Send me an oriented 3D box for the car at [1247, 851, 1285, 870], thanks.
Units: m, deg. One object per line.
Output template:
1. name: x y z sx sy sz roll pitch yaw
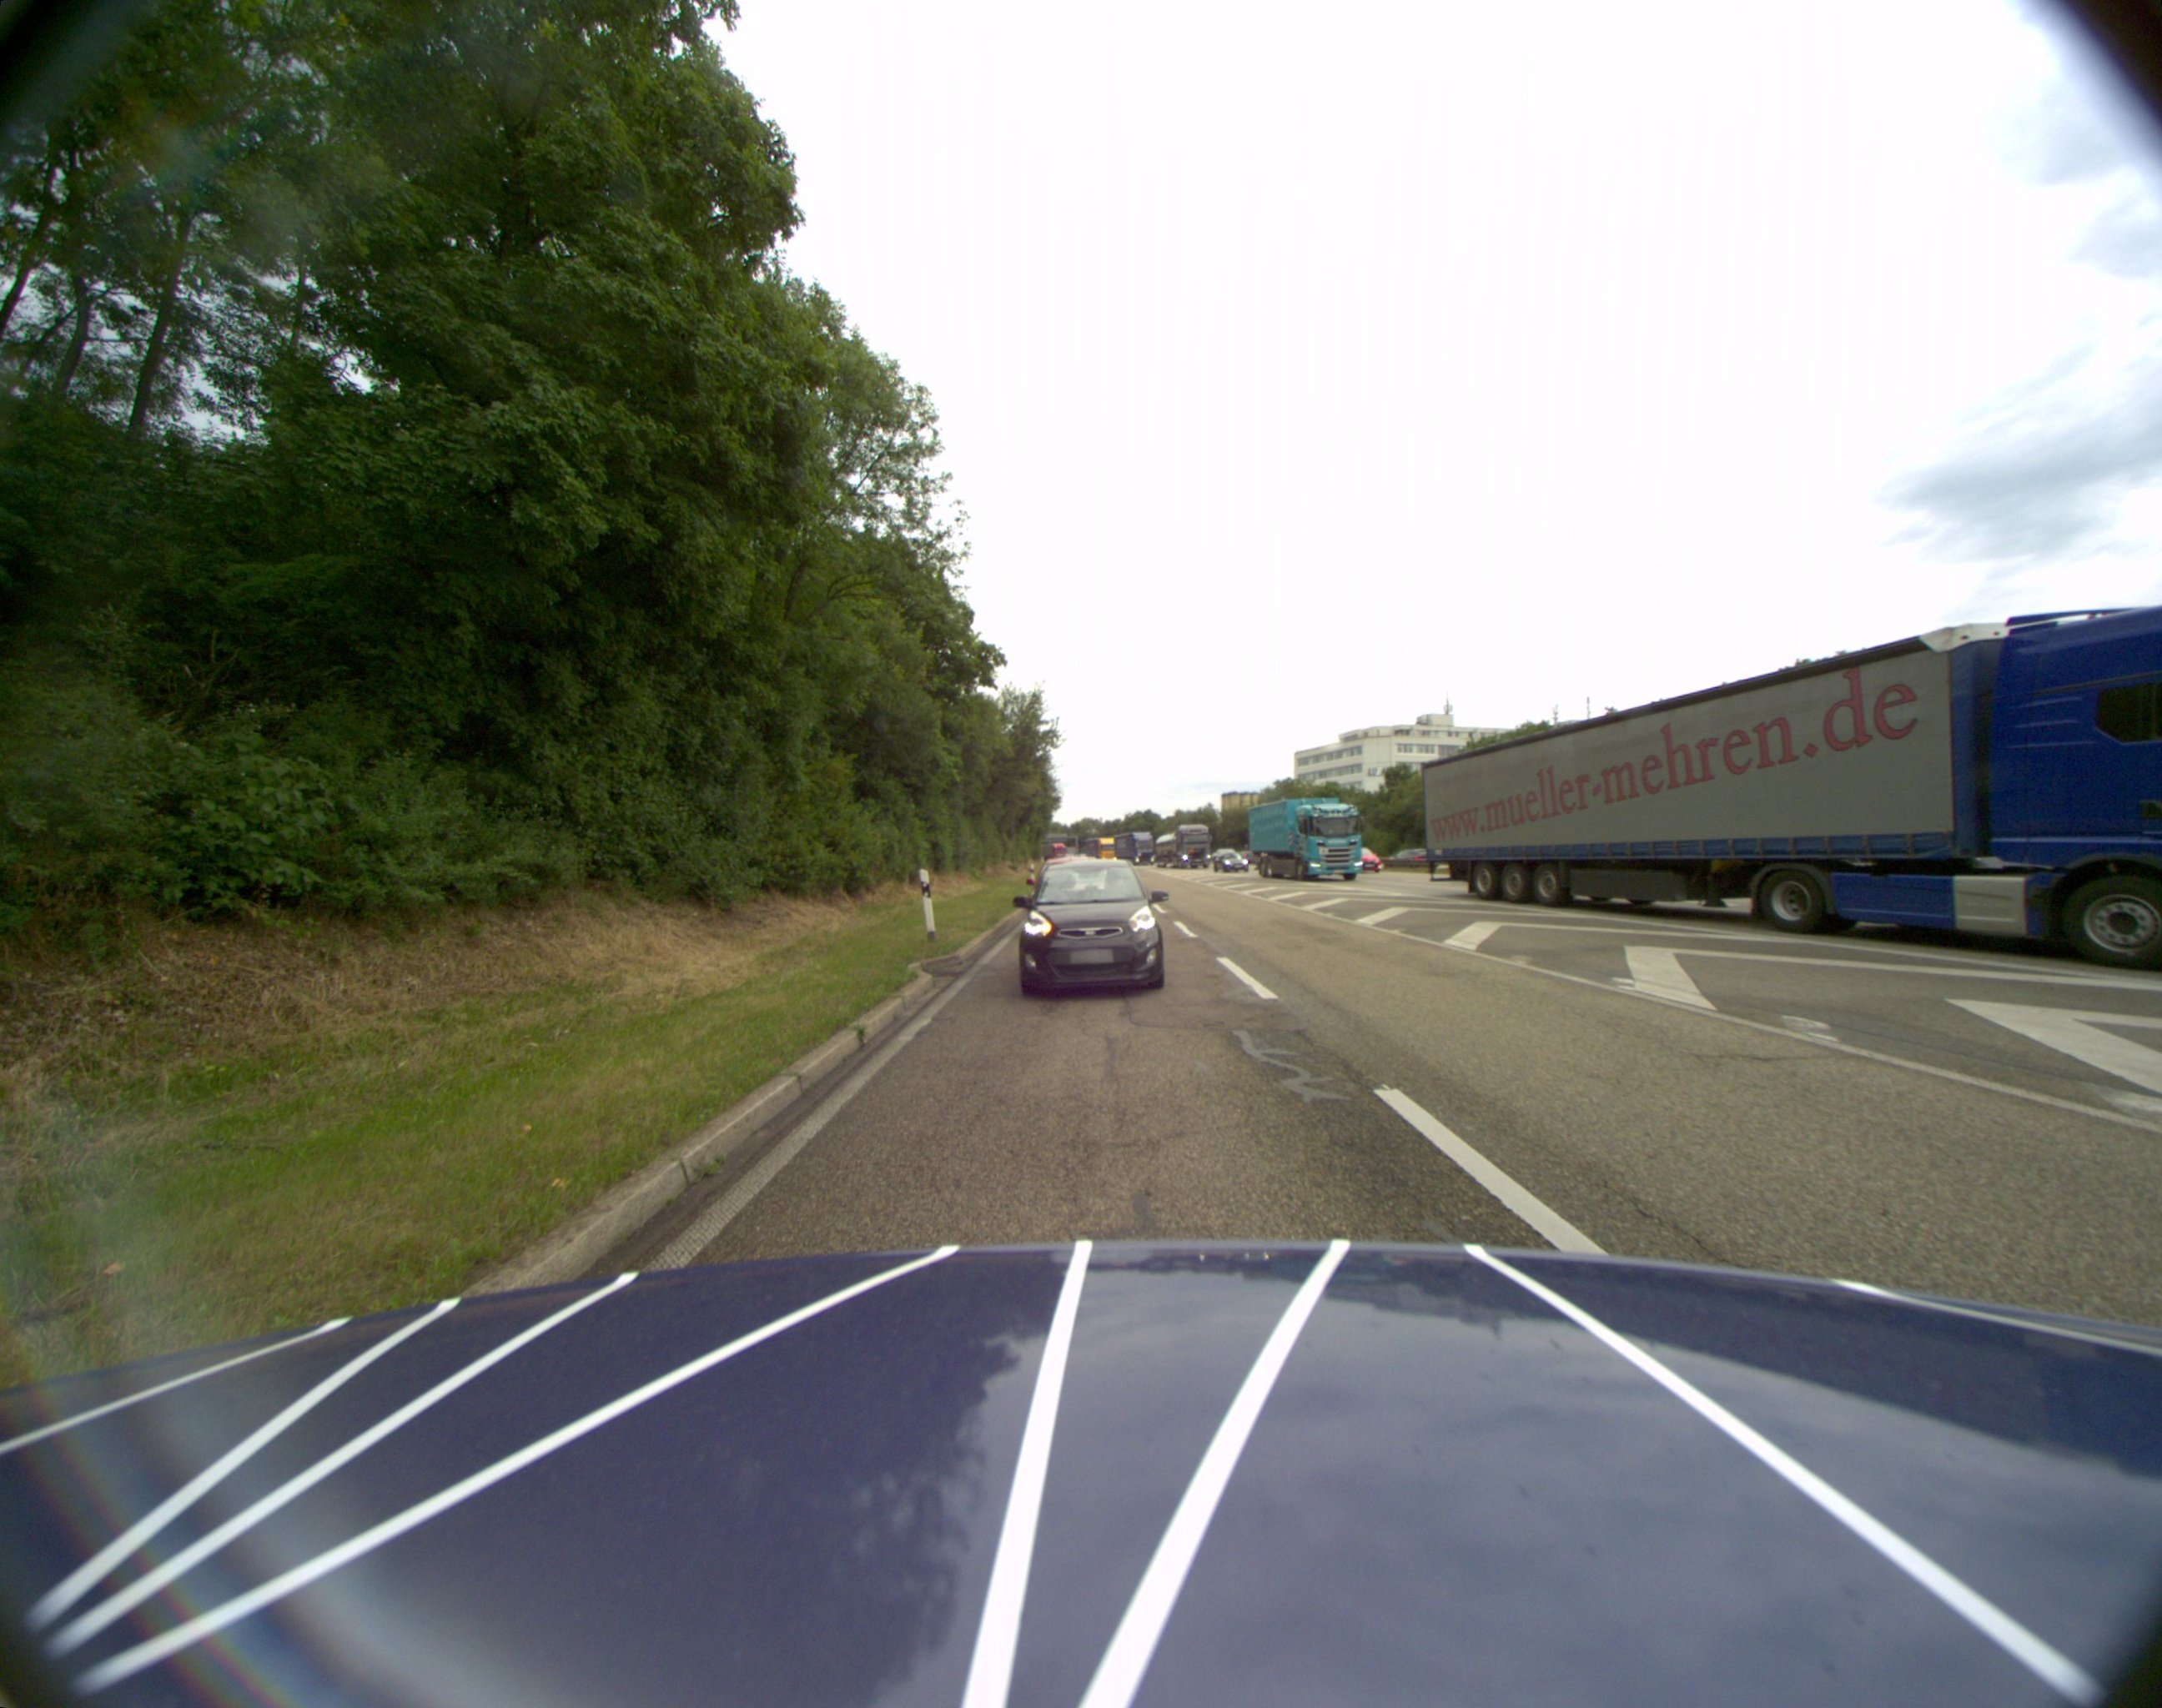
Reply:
1. car: 14.842 0.516 61.231 1.898 1.425 4.054 -1 0 -3

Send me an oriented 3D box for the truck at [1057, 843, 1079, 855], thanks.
1. truck: -4.098 -1.425 235.261 3.136 3.605 13.886 -2 0 -16

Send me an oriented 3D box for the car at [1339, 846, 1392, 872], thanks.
1. car: 16.169 0.266 43.375 1.746 1.410 3.447 -1 0 1

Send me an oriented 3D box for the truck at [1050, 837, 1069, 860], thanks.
1. truck: -5.020 -1.194 177.374 2.848 5.070 14.111 -2 0 -8

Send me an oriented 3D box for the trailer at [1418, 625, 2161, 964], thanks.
1. trailer: 11.674 -0.739 15.966 2.680 3.951 13.917 -2 0 -1

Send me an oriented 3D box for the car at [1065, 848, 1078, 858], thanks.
1. car: -1.648 -0.181 131.121 1.907 1.653 4.749 -1 1 -6

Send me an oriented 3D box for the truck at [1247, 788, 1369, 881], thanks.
1. truck: 11.002 -0.852 38.152 2.700 3.977 10.122 -2 0 -2

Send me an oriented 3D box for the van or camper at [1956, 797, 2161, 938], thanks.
1. van or camper: 15.592 0.168 10.272 1.925 1.909 4.850 -1 0 -1

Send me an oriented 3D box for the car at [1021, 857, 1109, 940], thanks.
1. car: -0.295 0.847 16.021 1.630 1.492 3.564 -1 0 0

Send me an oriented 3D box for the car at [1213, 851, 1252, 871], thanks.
1. car: 10.626 0.468 53.496 1.757 1.314 3.999 -2 0 -2

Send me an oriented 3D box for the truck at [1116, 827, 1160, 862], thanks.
1. truck: 7.144 -1.172 98.374 2.815 4.206 13.996 -2 0 -8

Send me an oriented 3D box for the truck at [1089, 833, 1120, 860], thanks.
1. truck: 3.819 -1.254 127.049 2.848 4.206 14.111 -2 0 -8

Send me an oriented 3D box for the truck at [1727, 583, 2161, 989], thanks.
1. truck: 11.816 -0.697 9.290 2.676 3.938 5.926 -2 0 -1

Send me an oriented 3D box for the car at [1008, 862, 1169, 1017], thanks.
1. car: 0.116 0.897 9.717 1.584 1.485 4.000 -2 0 1

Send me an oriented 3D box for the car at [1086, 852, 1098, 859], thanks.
1. car: 2.031 0.330 142.563 1.636 1.328 3.192 -1 0 -10

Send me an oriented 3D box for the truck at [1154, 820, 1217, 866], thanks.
1. truck: 9.746 -0.957 72.599 3.328 3.902 13.140 -2 0 -3
